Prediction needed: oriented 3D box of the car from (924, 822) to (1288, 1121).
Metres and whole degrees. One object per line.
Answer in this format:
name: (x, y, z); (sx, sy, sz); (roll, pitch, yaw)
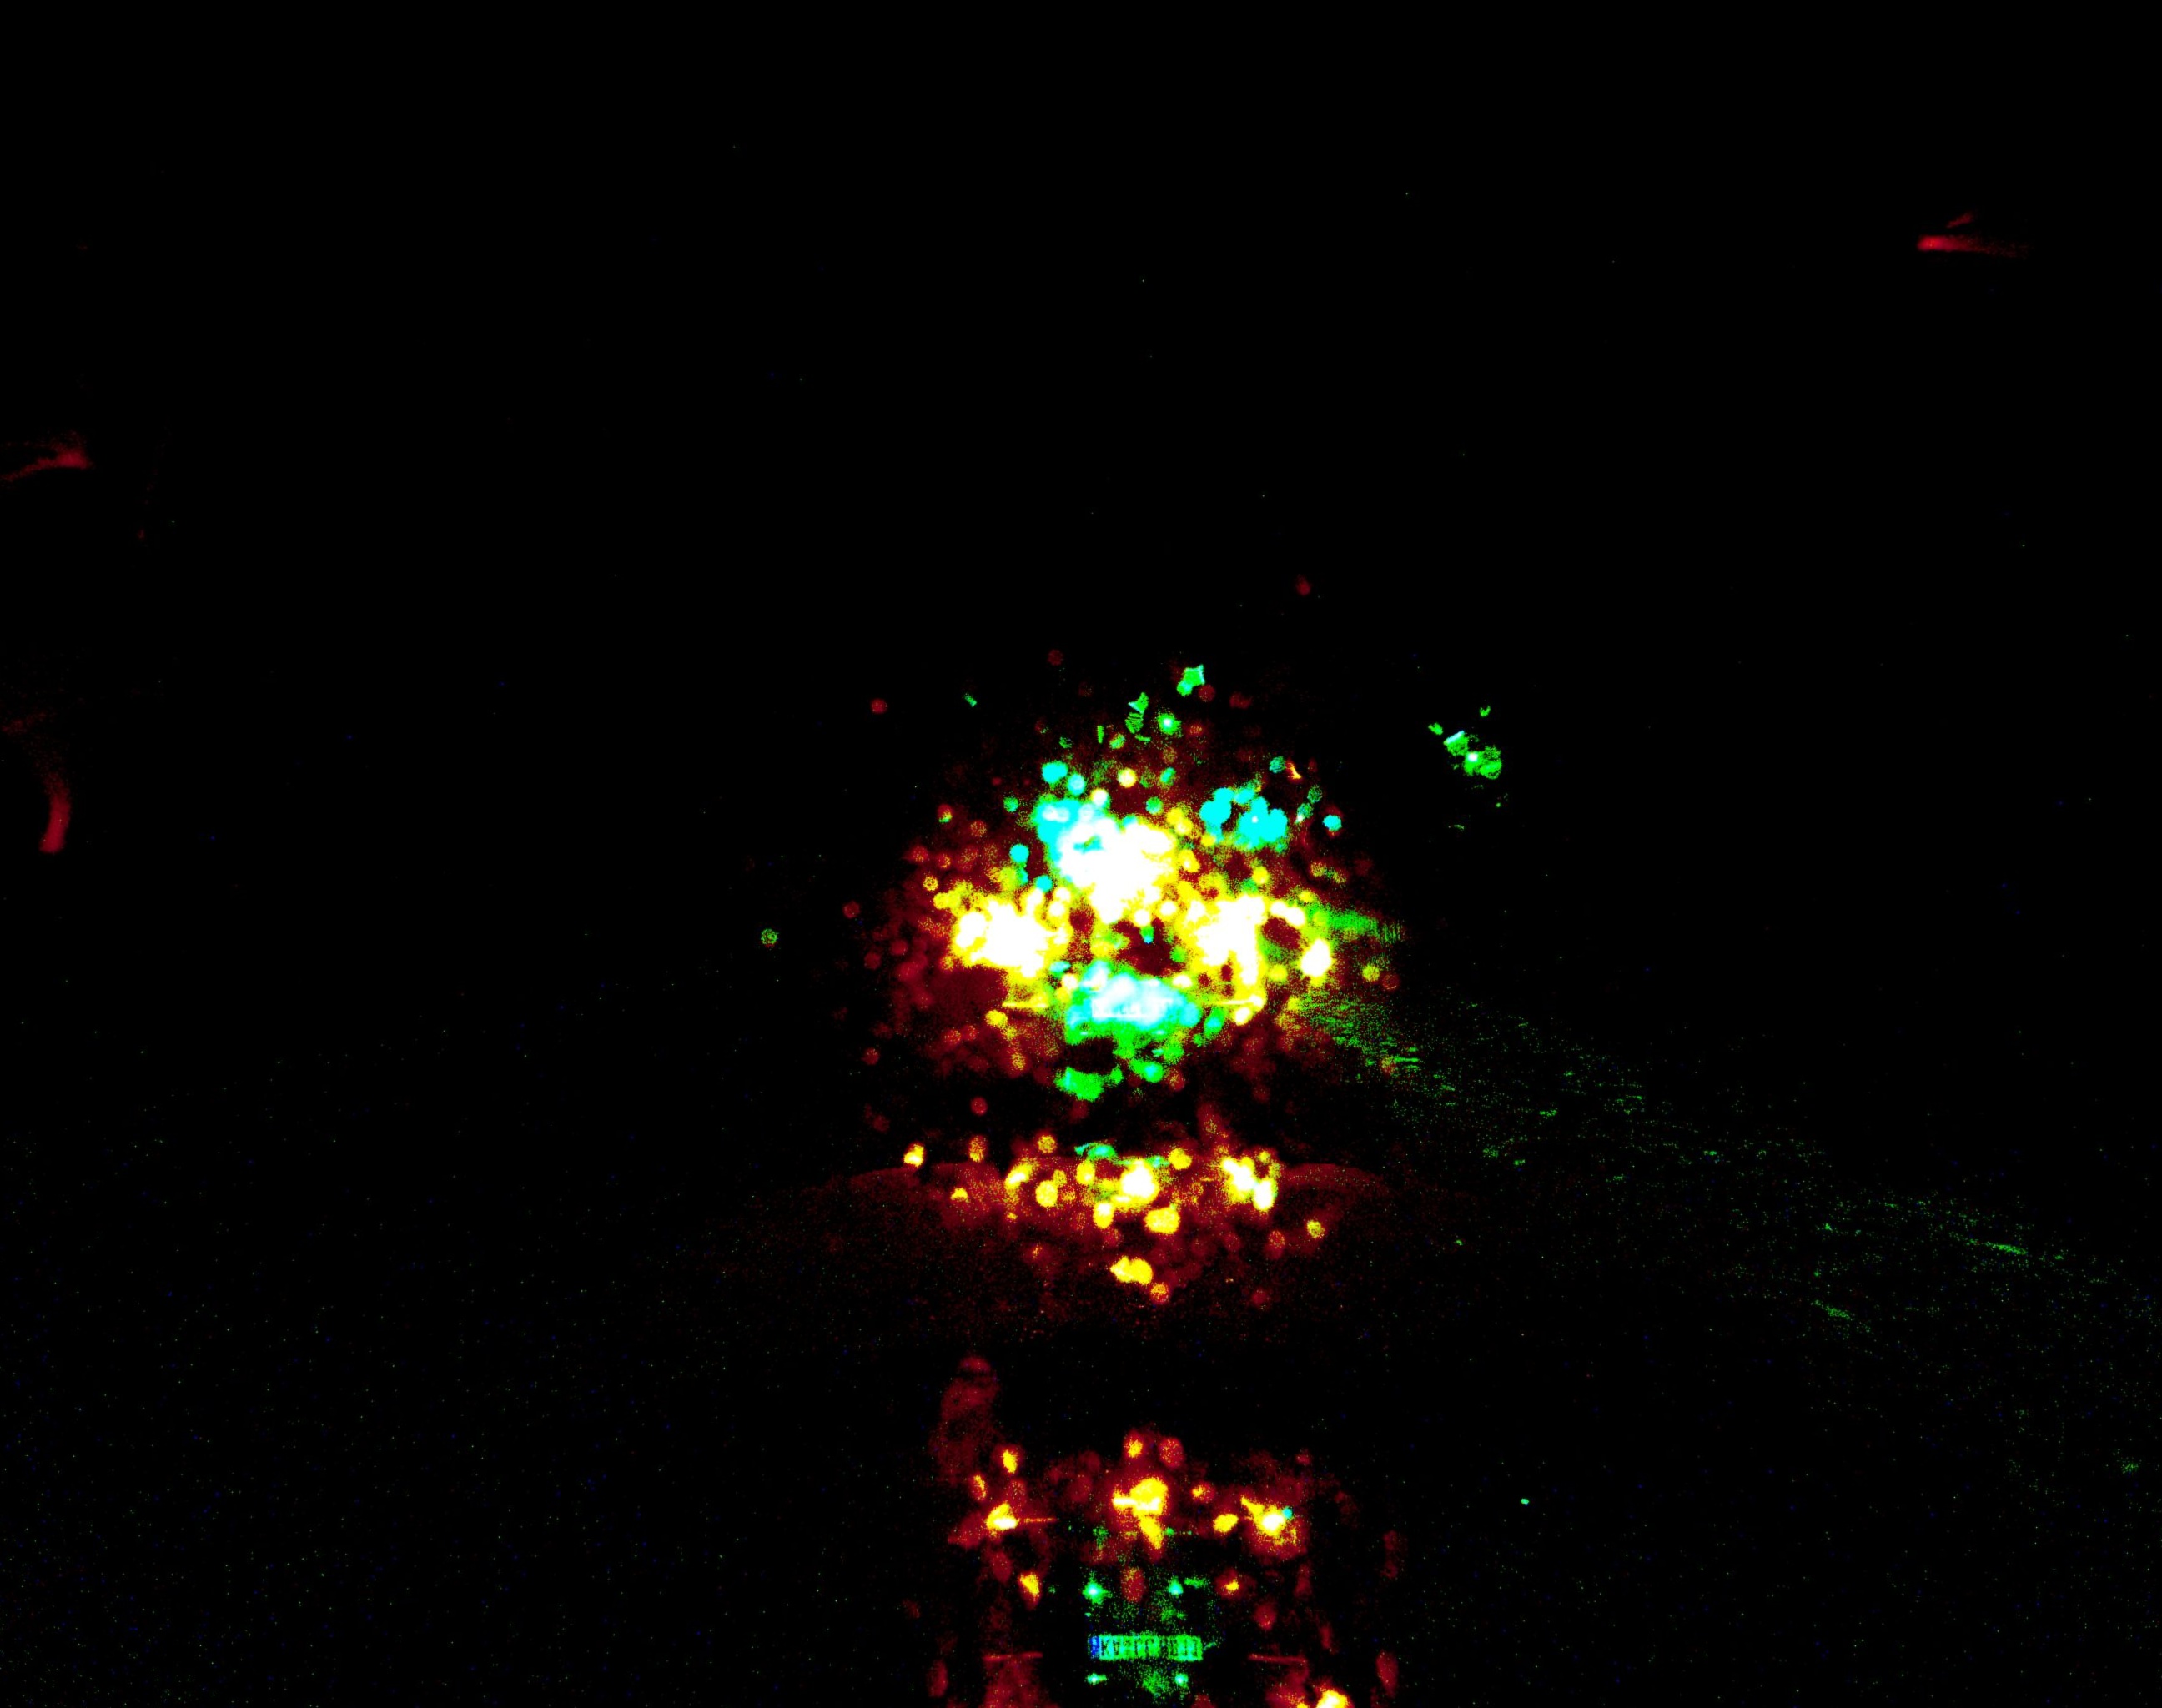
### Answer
car: (0.206, 0.665, 6.660); (2.050, 1.678, 4.141); (0, 0, 2)

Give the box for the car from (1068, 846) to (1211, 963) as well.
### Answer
car: (0.910, 0.696, 13.553); (1.902, 1.510, 4.243); (-4, 0, 2)

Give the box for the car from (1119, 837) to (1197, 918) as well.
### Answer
car: (2.223, 0.545, 22.545); (1.760, 1.947, 4.266); (2, 2, 9)

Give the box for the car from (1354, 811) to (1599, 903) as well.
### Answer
car: (8.465, 0.074, 17.864); (4.437, 1.586, 1.946); (-4, 0, 13)
